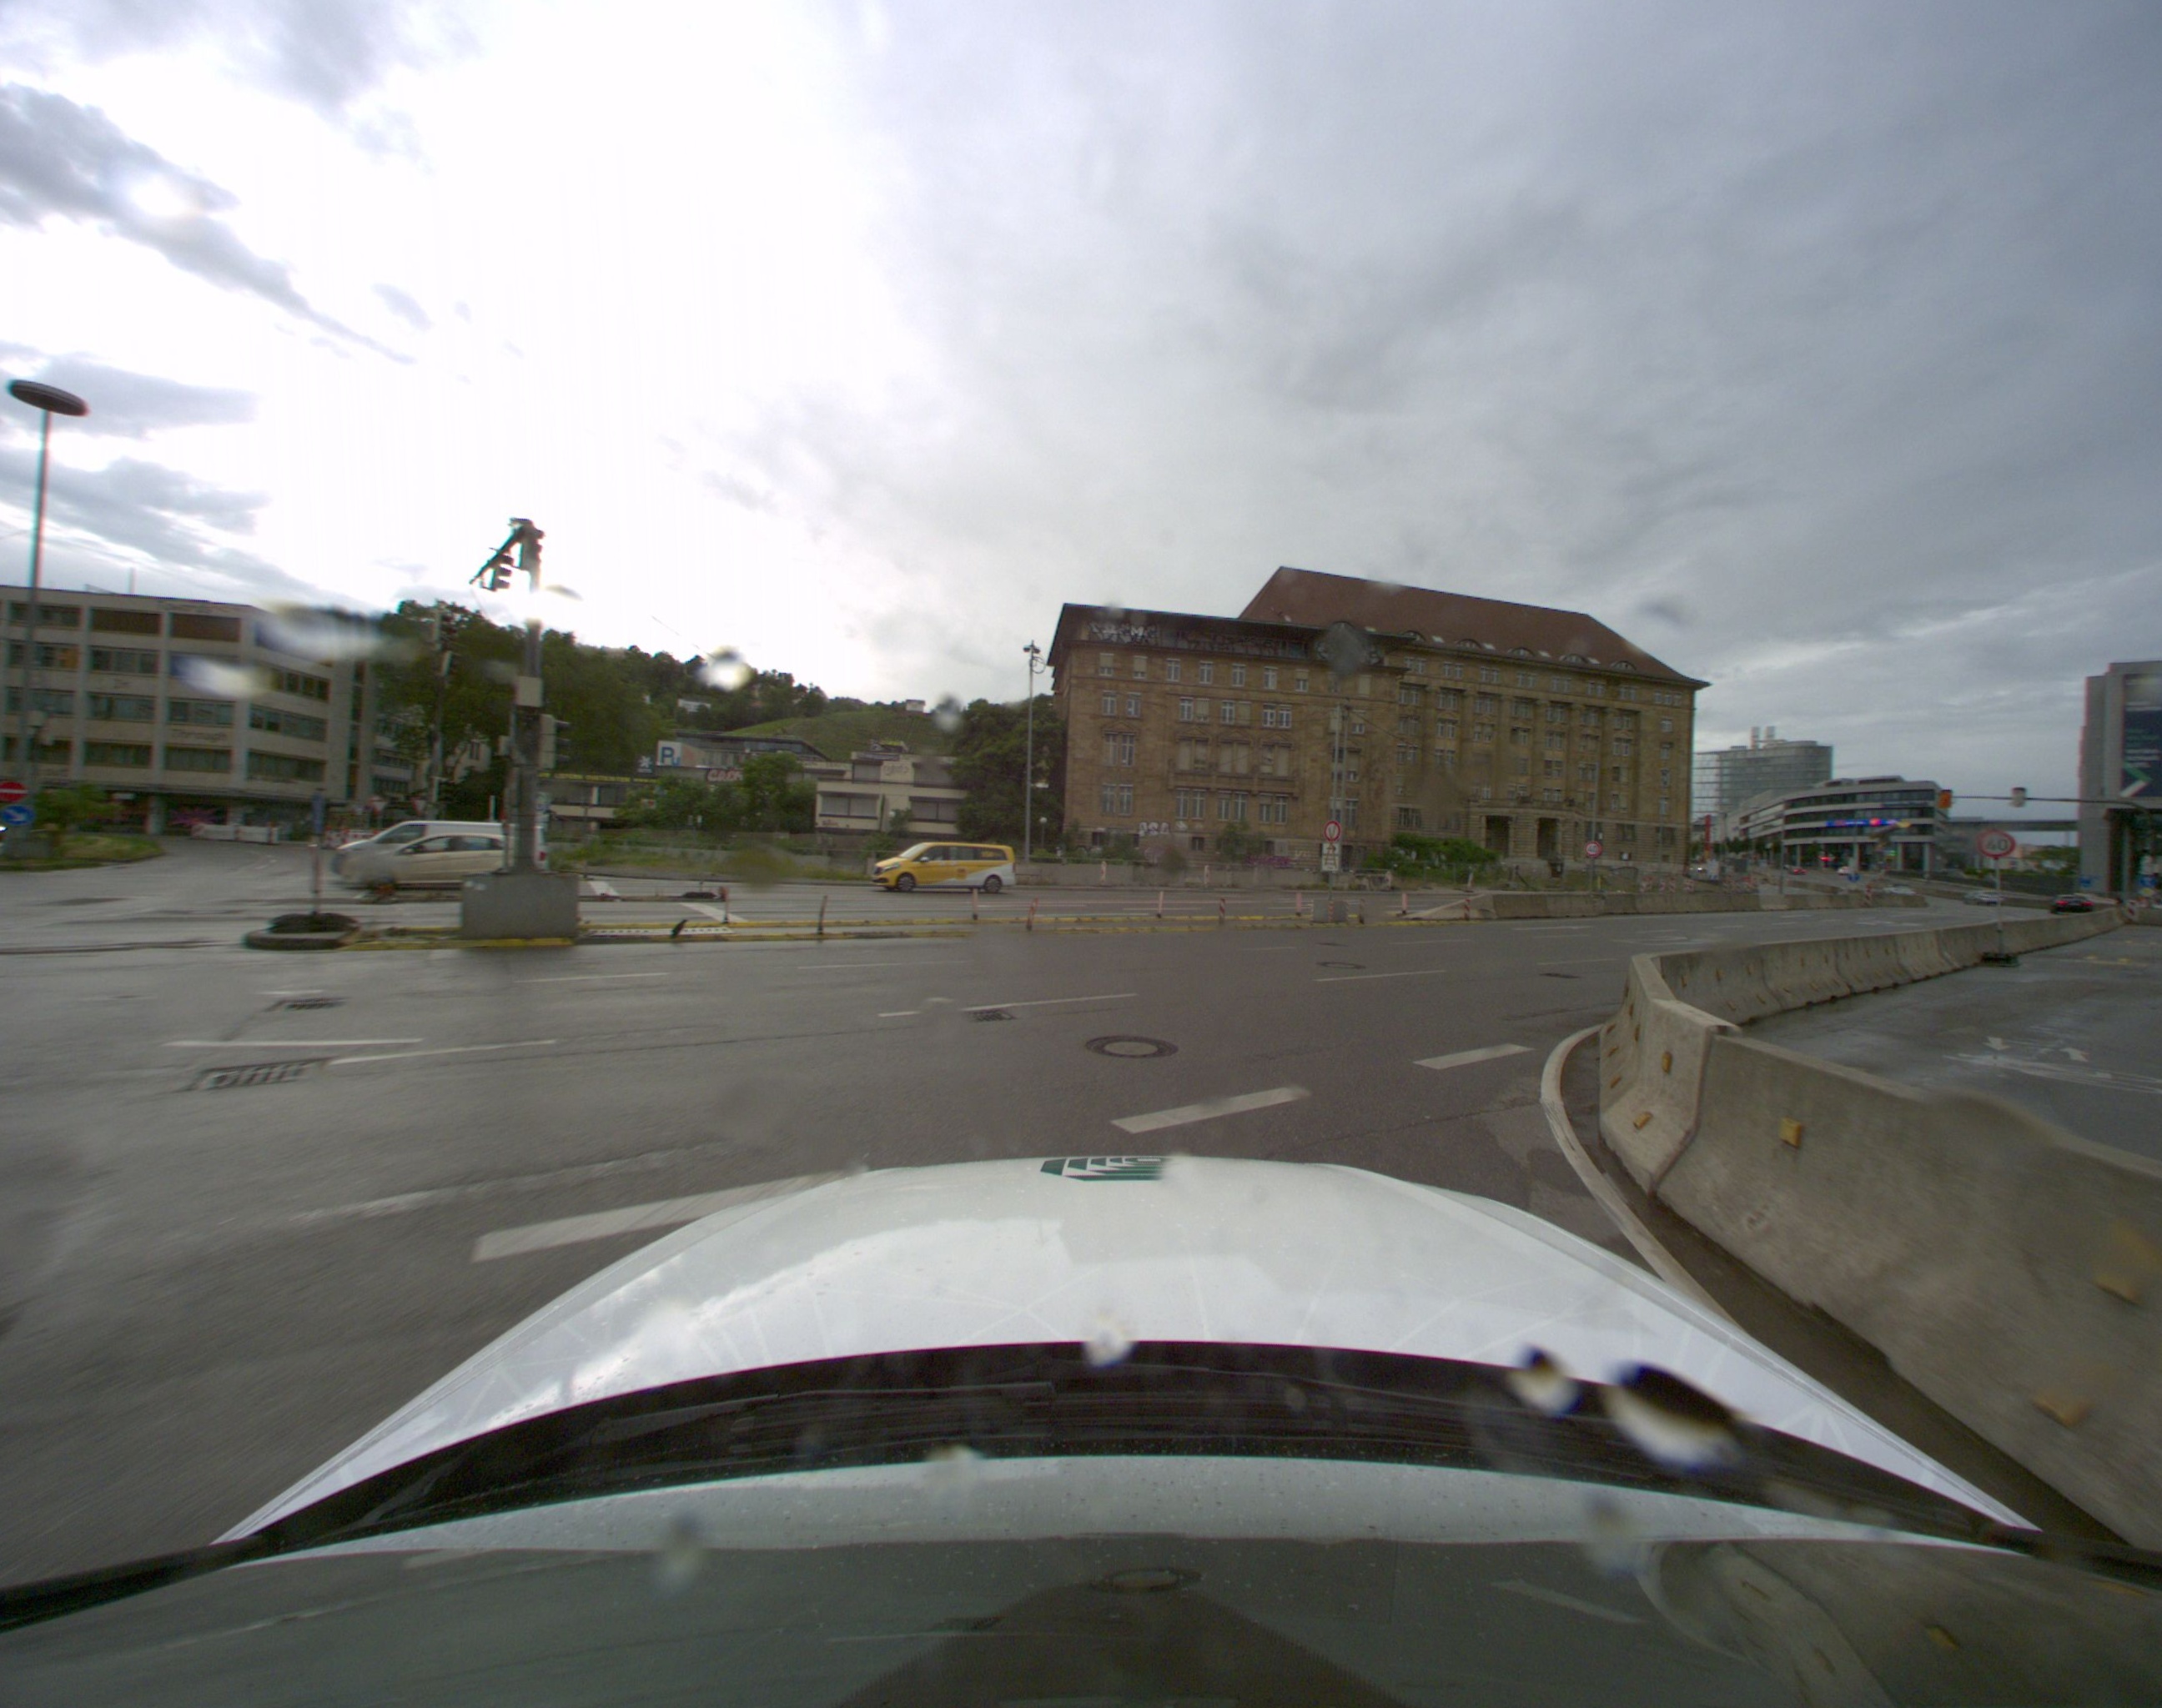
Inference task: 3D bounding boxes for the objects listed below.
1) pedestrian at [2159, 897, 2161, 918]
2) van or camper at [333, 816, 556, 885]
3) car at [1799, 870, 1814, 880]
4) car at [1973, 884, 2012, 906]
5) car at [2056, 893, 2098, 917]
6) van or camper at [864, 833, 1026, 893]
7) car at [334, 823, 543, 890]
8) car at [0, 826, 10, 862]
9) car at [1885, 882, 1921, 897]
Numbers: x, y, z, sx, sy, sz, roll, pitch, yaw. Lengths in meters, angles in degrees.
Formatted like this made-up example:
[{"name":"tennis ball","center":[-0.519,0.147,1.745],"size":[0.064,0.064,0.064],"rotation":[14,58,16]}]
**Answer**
[{"name":"pedestrian","center":[86.357,4.249,64.694],"size":[0.744,1.642,0.828],"rotation":[1,0,42]},{"name":"van or camper","center":[-19.488,-0.071,25.299],"size":[5.234,1.894,1.867],"rotation":[2,0,-36]},{"name":"car","center":[137.179,3.929,153.953],"size":[1.975,1.804,4.292],"rotation":[2,1,40]},{"name":"car","center":[88.206,3.935,78.859],"size":[1.722,1.875,3.801],"rotation":[1,0,35]},{"name":"car","center":[70.715,3.632,57.868],"size":[3.765,1.508,1.660],"rotation":[5,-2,-42]},{"name":"van or camper","center":[-5.120,0.374,31.040],"size":[5.626,2.054,2.224],"rotation":[2,0,-32]},{"name":"car","center":[-17.871,0.095,22.977],"size":[4.396,1.673,1.829],"rotation":[2,0,-33]},{"name":"car","center":[-53.775,-0.551,39.348],"size":[3.950,1.697,1.706],"rotation":[2,0,27]},{"name":"car","center":[90.215,3.844,89.418],"size":[1.725,1.506,3.776],"rotation":[2,0,29]}]
